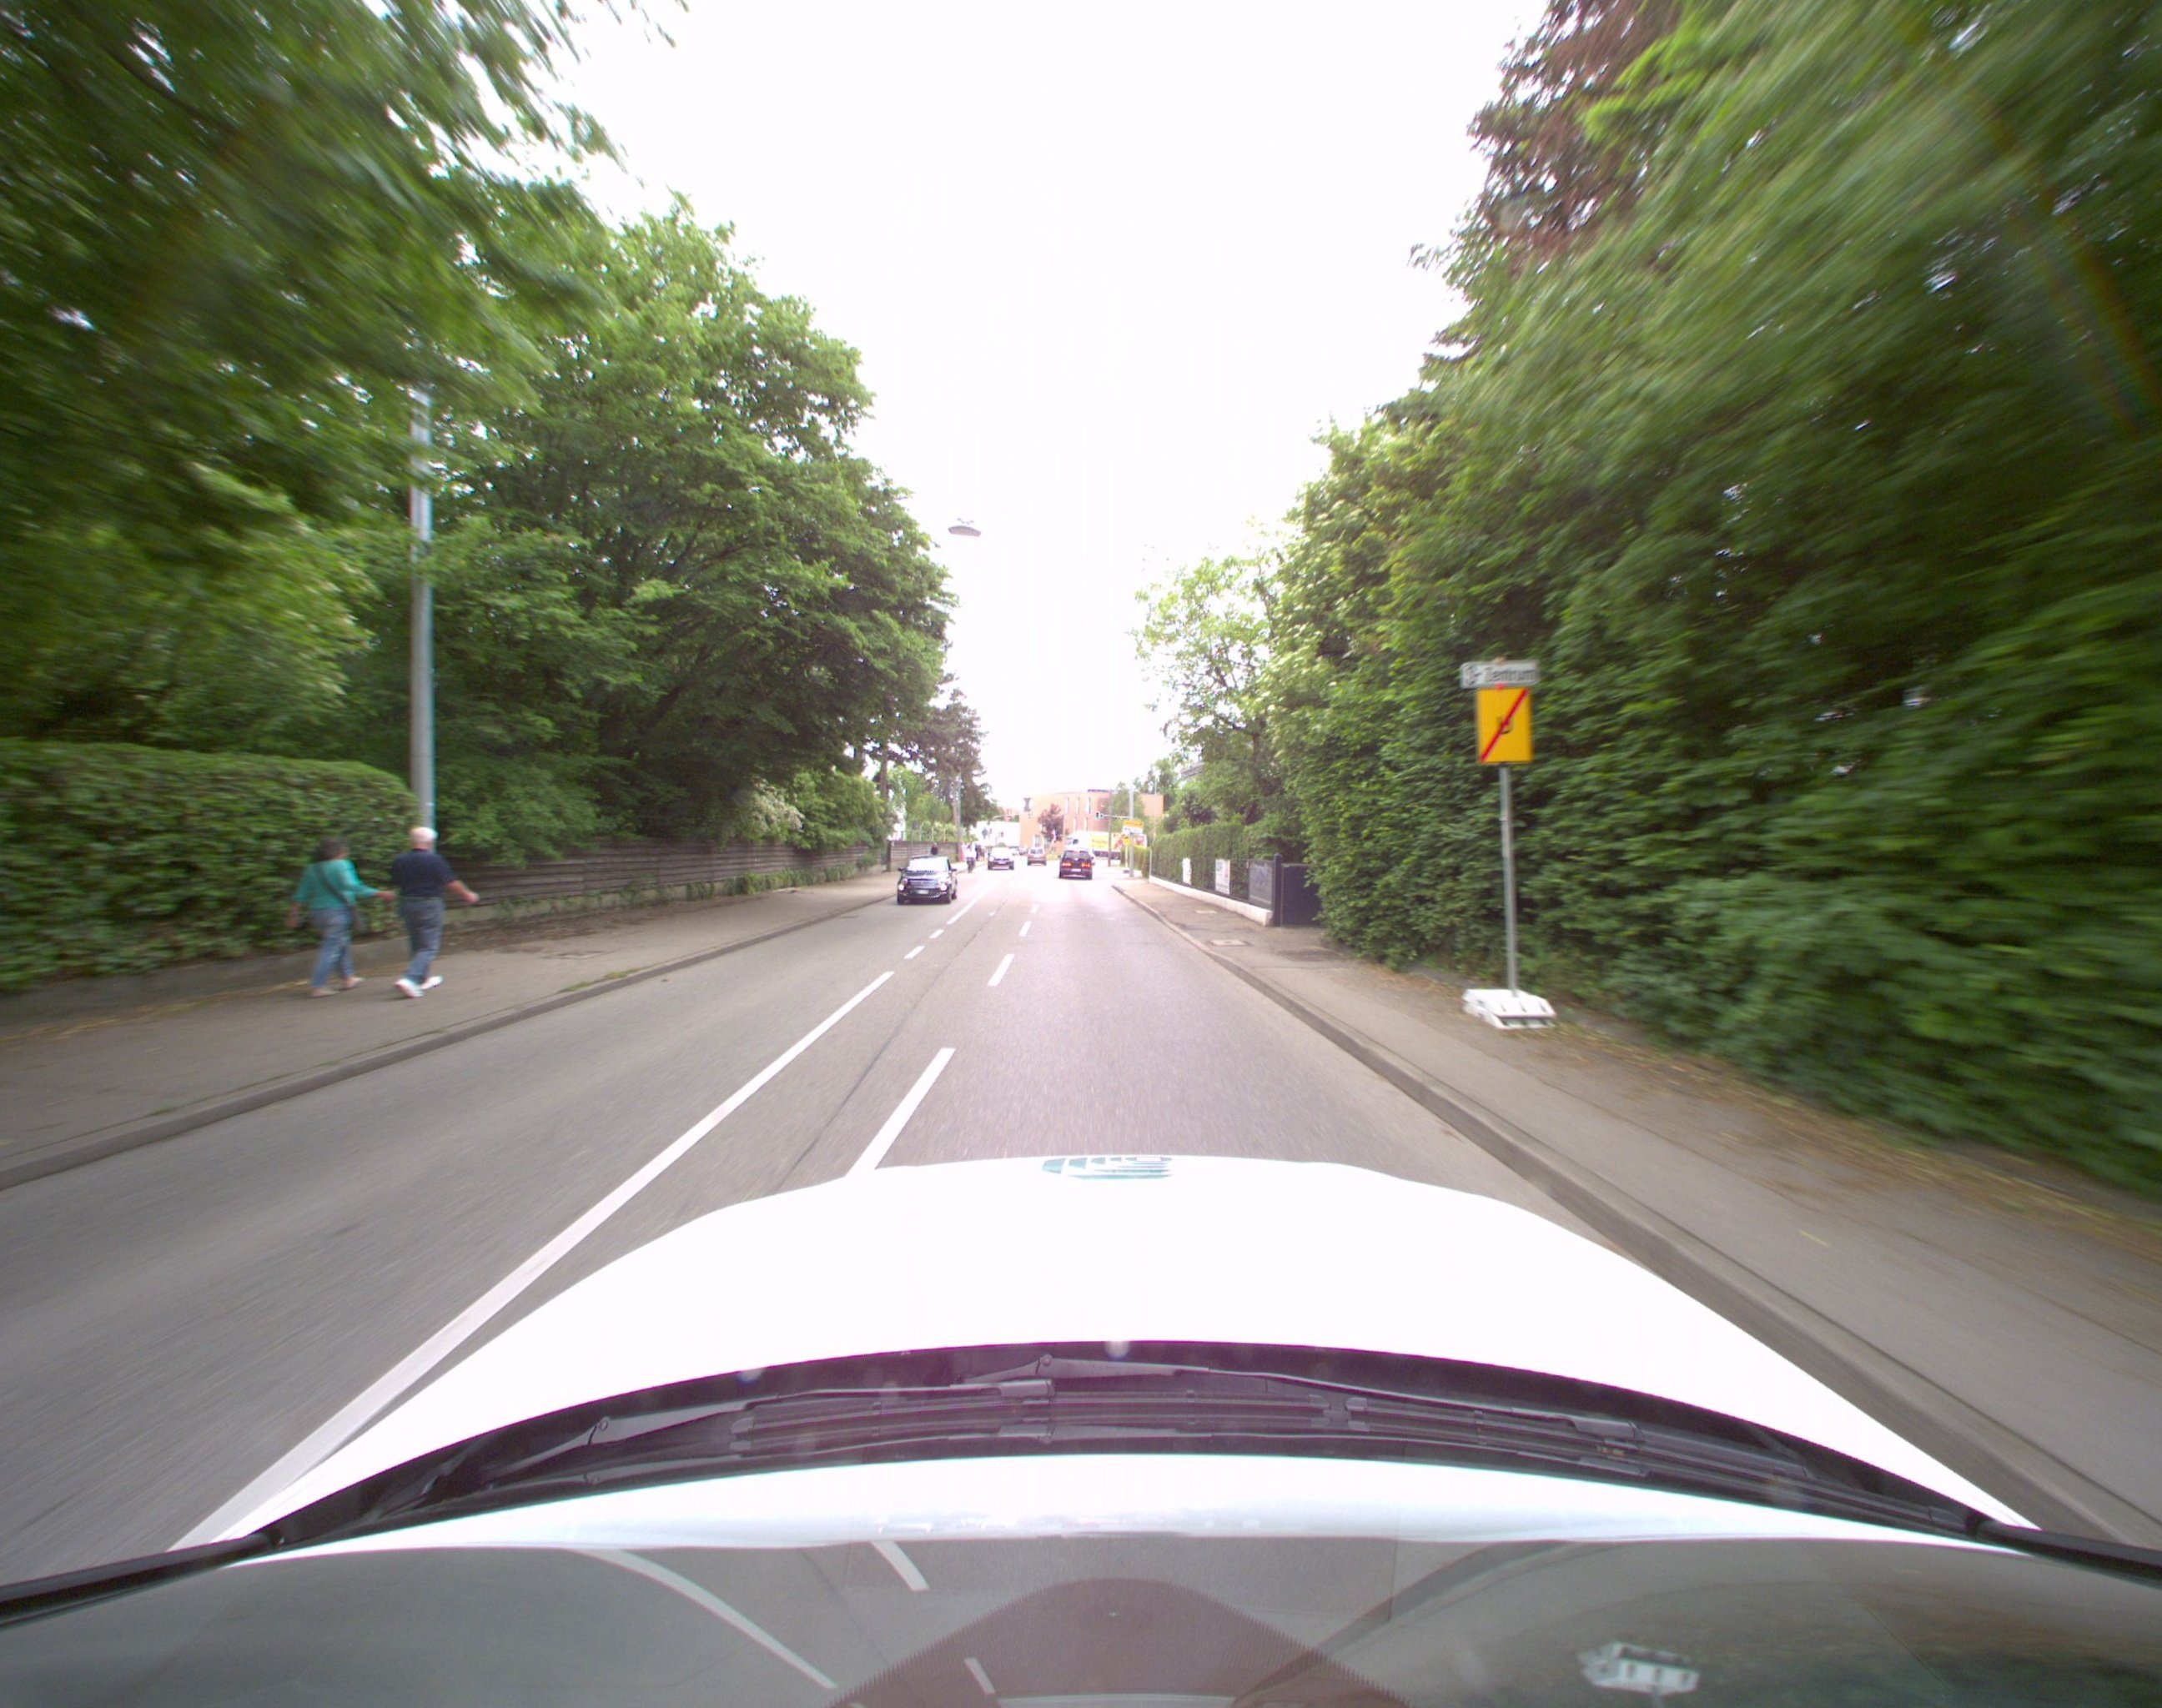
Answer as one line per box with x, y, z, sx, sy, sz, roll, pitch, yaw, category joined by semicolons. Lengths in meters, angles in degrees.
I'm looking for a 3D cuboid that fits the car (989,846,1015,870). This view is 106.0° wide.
-5.875;0.274;60.273;1.830;1.630;4.273;-1;1;-7;car

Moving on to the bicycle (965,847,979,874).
-7.225;0.397;53.935;0.757;1.744;1.870;-1;0;-2;bicycle

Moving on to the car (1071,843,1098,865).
0.399;-0.006;83.767;1.951;2.013;4.440;4;2;9;car

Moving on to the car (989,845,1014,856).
-14.176;-0.613;145.234;4.011;2.013;1.981;0;1;-30;car

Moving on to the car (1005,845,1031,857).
-10.641;-0.491;138.069;4.012;2.013;1.981;1;1;-30;car

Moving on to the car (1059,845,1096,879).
-0.219;0.444;47.081;1.988;1.882;3.998;1;0;-1;car

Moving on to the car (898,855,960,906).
-4.809;0.801;26.141;1.718;1.471;3.522;-1;0;-7;car

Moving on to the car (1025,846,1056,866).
-3.617;0.174;72.964;1.882;1.706;4.011;1;1;10;car

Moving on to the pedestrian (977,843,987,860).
-9.901;-0.258;81.508;0.686;1.734;0.757;2;1;43;pedestrian

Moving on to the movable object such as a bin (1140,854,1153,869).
5.208;0.588;64.464;0.719;1.073;0.674;3;-1;-39;movable object such as a bin

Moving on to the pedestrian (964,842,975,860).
-11.081;-0.274;80.709;0.819;1.763;0.861;1;0;-24;pedestrian

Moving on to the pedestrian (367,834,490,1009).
-6.601;0.646;8.291;0.629;1.662;0.915;1;-1;-15;pedestrian

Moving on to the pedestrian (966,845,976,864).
-10.901;0.079;80.865;0.755;1.837;0.609;1;0;-31;pedestrian

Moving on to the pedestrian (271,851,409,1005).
-7.318;0.707;8.087;0.670;1.449;0.754;3;-1;-15;pedestrian

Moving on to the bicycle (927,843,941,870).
-9.451;0.128;52.371;0.560;1.676;1.979;2;0;-2;bicycle

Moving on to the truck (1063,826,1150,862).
3.572;-1.418;114.187;11.789;4.734;3.116;1;1;-19;truck
